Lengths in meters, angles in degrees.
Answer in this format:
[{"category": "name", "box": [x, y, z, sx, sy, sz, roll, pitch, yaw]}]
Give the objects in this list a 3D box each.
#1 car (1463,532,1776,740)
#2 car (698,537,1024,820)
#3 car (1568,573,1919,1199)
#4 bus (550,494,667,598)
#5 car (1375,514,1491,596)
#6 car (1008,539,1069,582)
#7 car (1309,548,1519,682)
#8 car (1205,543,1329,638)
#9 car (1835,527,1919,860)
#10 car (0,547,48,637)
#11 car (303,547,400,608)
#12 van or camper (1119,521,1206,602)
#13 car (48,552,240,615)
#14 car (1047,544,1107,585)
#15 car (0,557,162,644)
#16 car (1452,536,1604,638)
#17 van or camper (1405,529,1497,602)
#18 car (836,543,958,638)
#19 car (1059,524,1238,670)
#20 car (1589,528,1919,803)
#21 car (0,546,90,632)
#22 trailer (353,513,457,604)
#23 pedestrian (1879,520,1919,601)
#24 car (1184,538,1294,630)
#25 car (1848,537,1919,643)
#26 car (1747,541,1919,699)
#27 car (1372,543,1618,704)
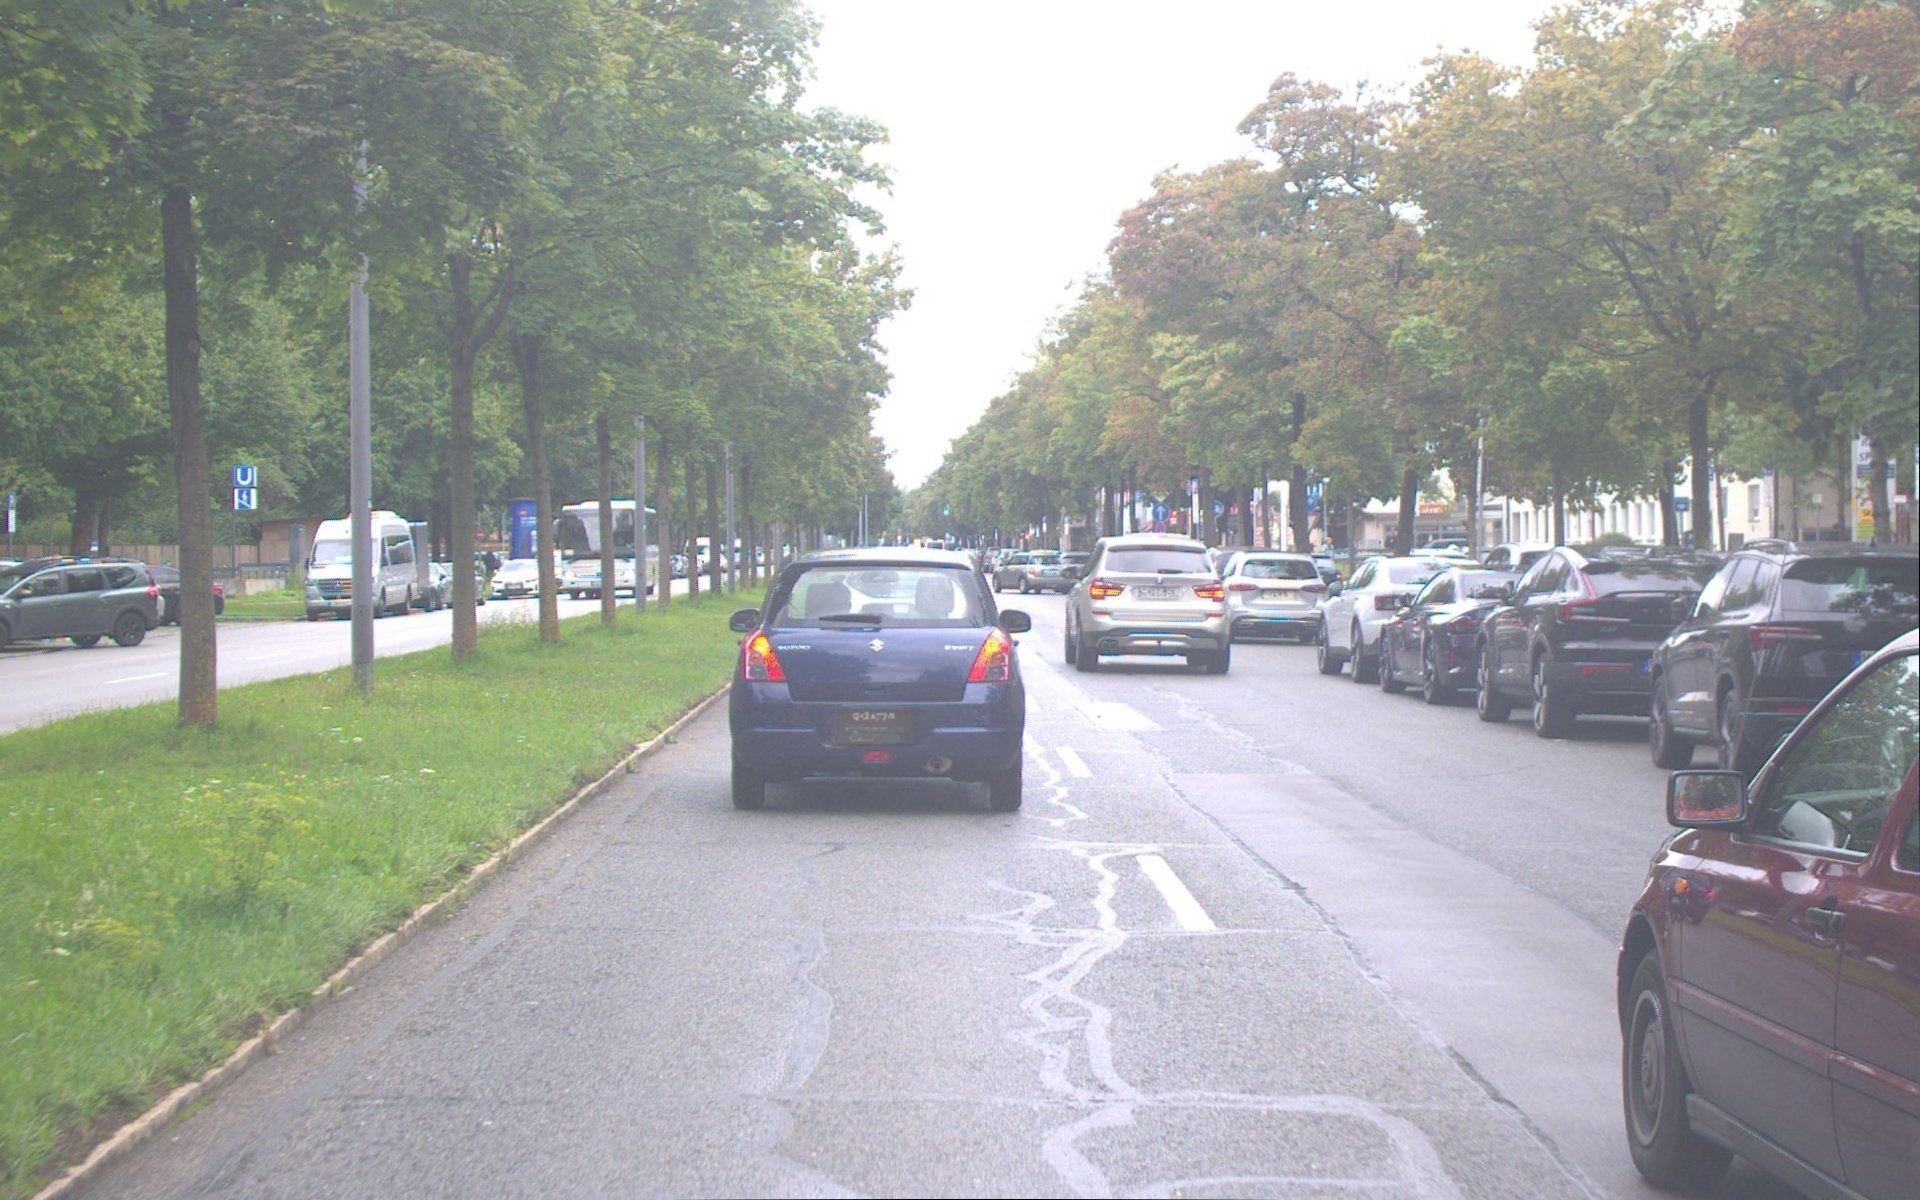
[{"category": "car", "box": [5.557, 0.248, 29.478, 1.764, 1.646, 4.424, 0, 1, -1]}, {"category": "car", "box": [-0.623, 0.397, 20.970, 1.789, 1.550, 4.001, 0, 1, -2]}, {"category": "car", "box": [2.407, 0.690, 6.815, 1.622, 1.449, 3.950, 0, 1, -1]}, {"category": "bus", "box": [-12.221, -1.898, 120.406, 2.738, 3.366, 12.013, -2, 1, 0]}, {"category": "car", "box": [9.356, -0.902, 68.251, 1.684, 1.580, 4.028, 0, 1, -1]}, {"category": "car", "box": [2.697, -1.363, 118.611, 1.850, 1.442, 4.098, 0, 1, -2]}, {"category": "car", "box": [5.336, 0.133, 40.957, 1.706, 1.449, 4.512, 2, 1, -2]}, {"category": "car", "box": [5.171, -0.196, 58.302, 1.684, 1.520, 4.456, 1, 1, 0]}, {"category": "car", "box": [5.753, 0.484, 16.711, 1.761, 1.695, 4.820, 0, 1, 0]}, {"category": "car", "box": [-19.647, -0.138, 65.257, 4.095, 1.689, 1.919, -1, 1, -34]}, {"category": "car", "box": [-15.907, -0.603, 90.057, 1.913, 1.537, 4.188, -1, 1, -2]}, {"category": "van or camper", "box": [5.056, -0.977, 86.216, 1.944, 1.968, 4.306, 0, 1, 0]}, {"category": "car", "box": [-19.371, -0.391, 81.645, 4.094, 1.469, 1.705, 0, 0, -34]}, {"category": "car", "box": [4.211, -1.309, 124.108, 1.850, 1.442, 4.098, 0, 1, -2]}, {"category": "car", "box": [-17.123, 0.005, 63.575, 4.176, 1.537, 1.918, -2, 1, -41]}, {"category": "car", "box": [9.413, -0.246, 57.297, 1.684, 1.627, 4.780, 0, 1, -1]}, {"category": "van or camper", "box": [13.719, -0.984, 96.256, 1.944, 1.968, 4.306, 0, 1, 0]}, {"category": "car", "box": [-1.040, -0.175, 54.598, 1.850, 1.442, 4.098, 0, 1, -2]}, {"category": "car", "box": [2.307, -0.070, 42.982, 1.850, 1.737, 4.098, 0, 1, -2]}, {"category": "car", "box": [5.520, 0.353, 22.840, 1.722, 1.646, 4.389, 0, 1, -2]}, {"category": "car", "box": [-19.714, -0.208, 68.723, 4.095, 1.689, 1.919, -1, 1, -34]}, {"category": "trailer", "box": [-16.013, -1.225, 99.462, 2.106, 2.531, 5.577, -1, 1, 0]}, {"category": "pedestrian", "box": [19.980, -0.848, 72.990, 0.747, 1.700, 0.702, -1, 1, 0]}, {"category": "car", "box": [5.151, -0.324, 63.878, 1.684, 1.620, 4.306, 1, 1, 0]}, {"category": "car", "box": [15.444, -0.181, 53.968, 1.684, 1.627, 4.499, 0, 1, -2]}, {"category": "car", "box": [9.662, 0.166, 36.487, 1.684, 1.580, 4.009, 0, 1, 0]}, {"category": "car", "box": [5.403, 0.194, 35.213, 1.764, 1.541, 4.424, 0, 1, -1]}]
